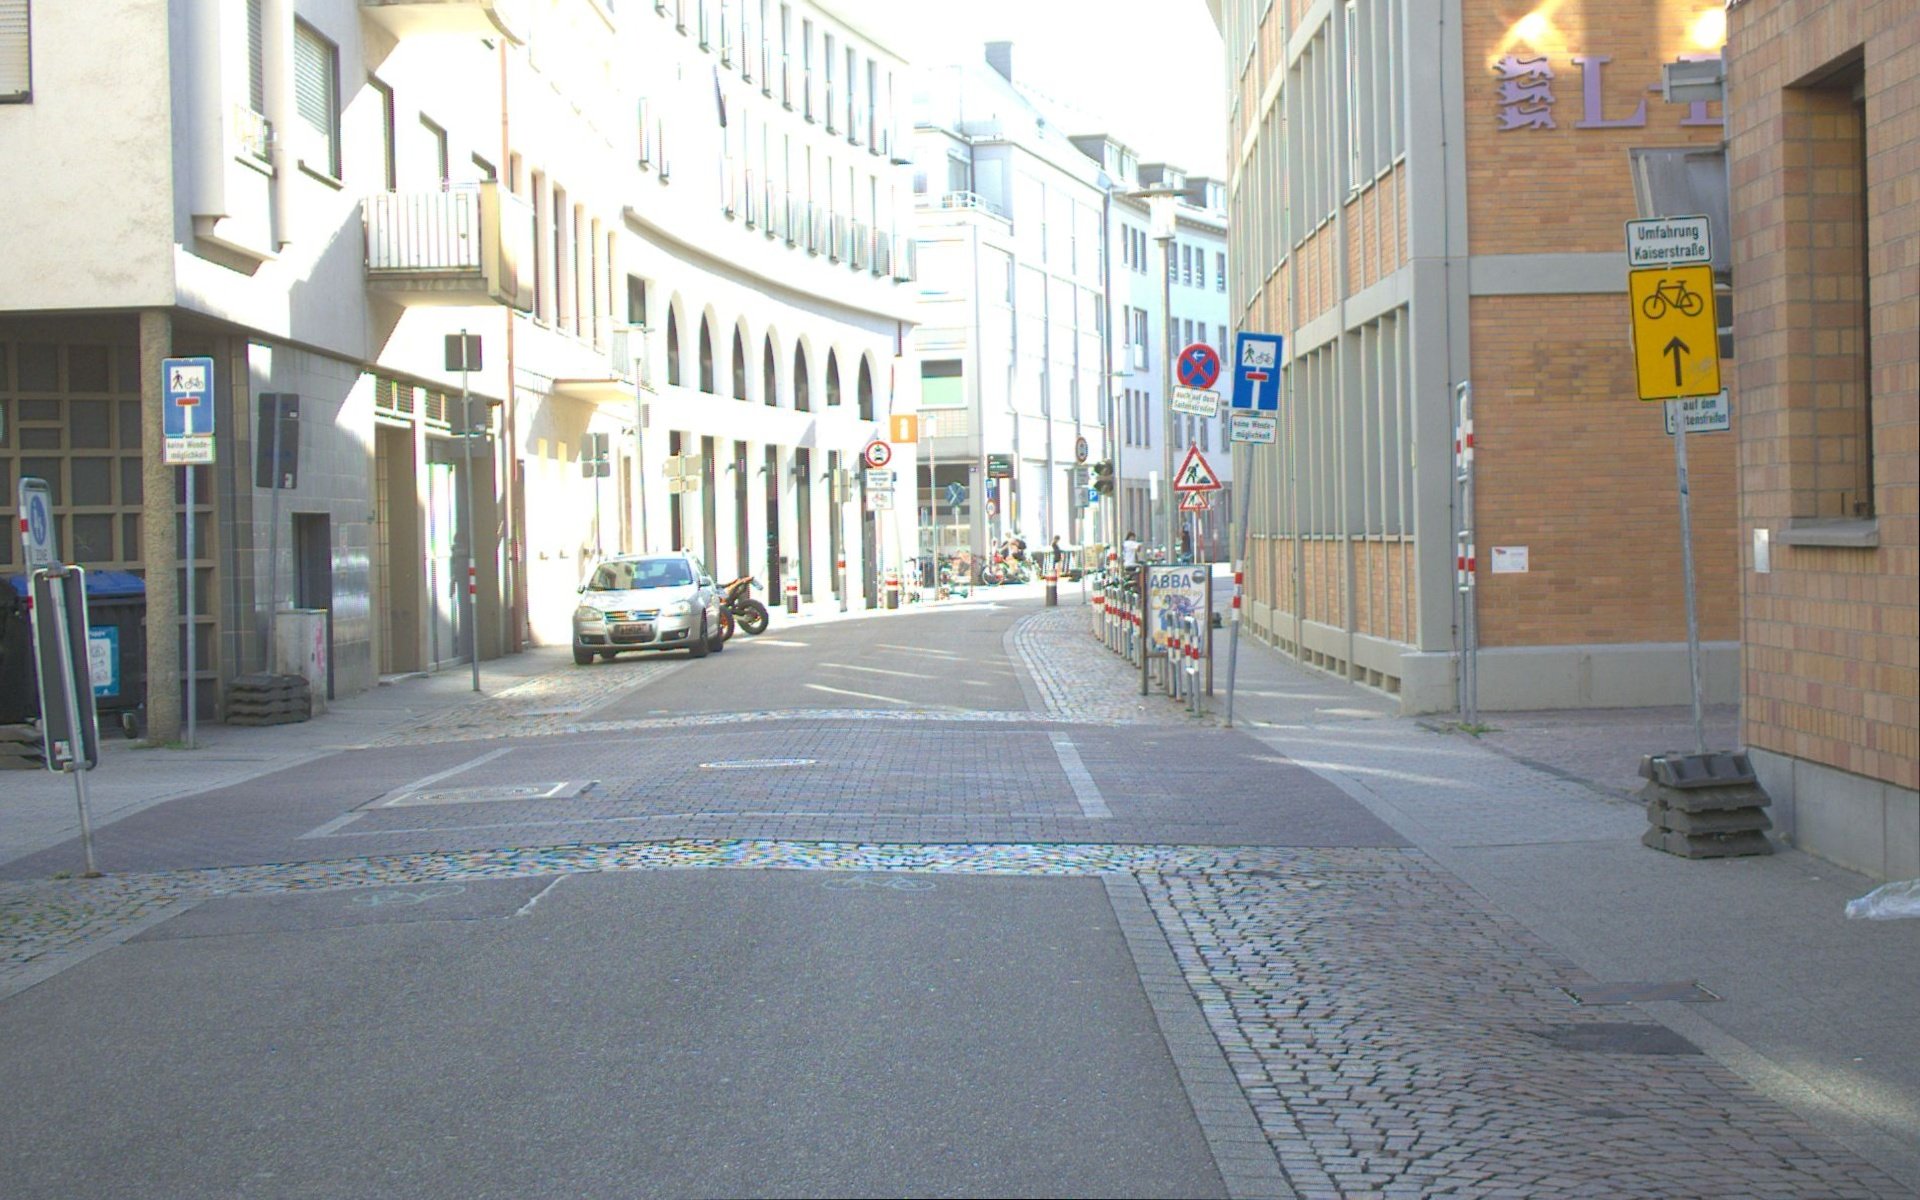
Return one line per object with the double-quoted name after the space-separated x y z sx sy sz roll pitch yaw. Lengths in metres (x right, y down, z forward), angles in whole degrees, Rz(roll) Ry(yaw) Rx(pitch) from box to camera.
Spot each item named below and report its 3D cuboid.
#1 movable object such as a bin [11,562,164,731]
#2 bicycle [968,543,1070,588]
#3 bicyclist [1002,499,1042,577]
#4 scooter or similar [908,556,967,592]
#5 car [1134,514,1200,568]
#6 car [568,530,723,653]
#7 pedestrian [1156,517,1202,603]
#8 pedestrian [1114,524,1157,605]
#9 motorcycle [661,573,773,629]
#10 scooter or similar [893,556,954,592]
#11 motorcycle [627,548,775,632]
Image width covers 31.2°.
-7.526 0.390 29.659 0.884 1.415 0.932 1 0 43 "movable object such as a bin"
1.840 -1.067 107.091 3.090 1.349 0.701 1 0 13 "bicycle"
1.946 -1.929 107.084 1.091 2.381 0.741 1 0 13 "bicyclist"
-0.608 -0.715 92.771 0.526 0.925 2.224 1 1 30 "scooter or similar"
6.564 -1.868 108.696 1.737 1.600 3.532 -2 1 8 "car"
-4.227 -0.147 46.624 1.736 1.600 3.533 0 1 1 "car"
4.765 -0.869 74.685 0.659 1.862 0.761 1 0 -30 "pedestrian"
4.093 -0.832 80.059 0.659 1.862 0.786 1 0 -30 "pedestrian"
-3.828 0.014 54.192 1.691 0.856 0.594 1 0 5 "motorcycle"
-0.949 -0.684 89.686 0.526 0.925 2.224 1 1 30 "scooter or similar"
-4.357 -0.180 57.954 2.390 1.312 0.862 -2 1 0 "motorcycle"
